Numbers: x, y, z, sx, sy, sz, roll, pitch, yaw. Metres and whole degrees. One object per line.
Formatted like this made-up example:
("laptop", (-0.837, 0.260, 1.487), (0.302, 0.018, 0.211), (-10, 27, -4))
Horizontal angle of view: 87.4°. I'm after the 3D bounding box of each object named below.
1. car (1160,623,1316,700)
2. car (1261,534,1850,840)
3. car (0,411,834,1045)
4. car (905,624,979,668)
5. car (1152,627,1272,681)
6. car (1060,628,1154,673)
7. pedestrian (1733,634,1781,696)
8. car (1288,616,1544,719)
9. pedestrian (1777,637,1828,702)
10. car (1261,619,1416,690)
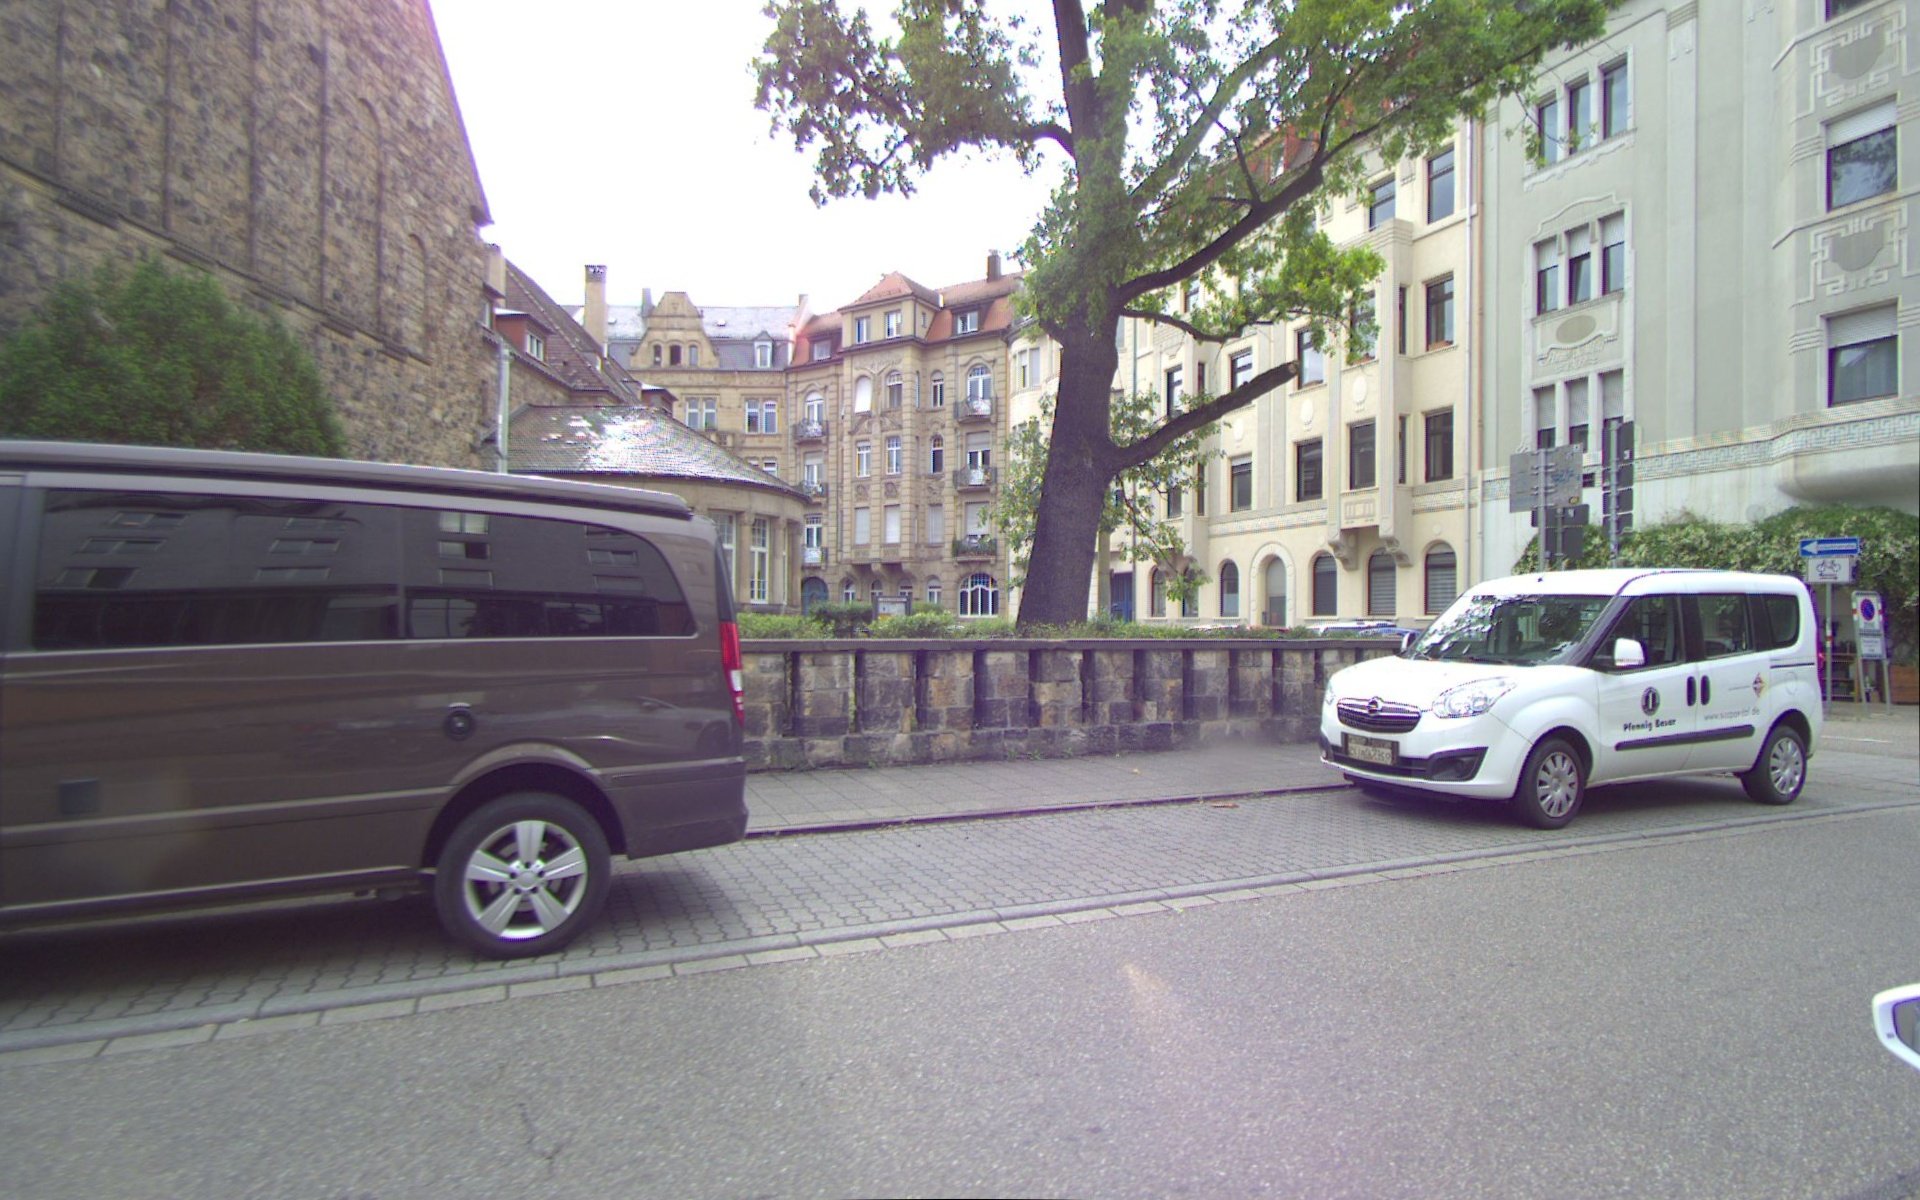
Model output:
("car", (6.020, 1.303, 22.093), (1.452, 1.502, 3.342), (2, -2, -26))
("car", (4.859, 0.595, 8.181), (4.482, 1.965, 1.839), (1, -1, -23))
("car", (-3.286, 0.426, 4.248), (5.113, 2.040, 2.007), (1, -1, -25))
("car", (-0.709, 1.666, 37.171), (1.452, 1.502, 3.342), (2, -2, -26))
("car", (8.060, 1.705, 32.472), (1.676, 1.577, 3.806), (-2, -1, -26))
("car", (5.516, 1.896, 38.137), (1.676, 1.577, 3.806), (-2, -1, -26))
("pedestrian", (16.197, 1.308, 20.408), (0.547, 1.213, 0.577), (0, 0, -24))
("car", (8.042, 1.147, 18.098), (1.745, 1.628, 4.045), (2, -2, -26))
("pedestrian", (16.364, 1.344, 19.512), (0.547, 1.213, 0.577), (0, 0, -24))
("car", (10.293, 1.466, 27.607), (1.744, 1.739, 3.806), (-2, -1, -26))
